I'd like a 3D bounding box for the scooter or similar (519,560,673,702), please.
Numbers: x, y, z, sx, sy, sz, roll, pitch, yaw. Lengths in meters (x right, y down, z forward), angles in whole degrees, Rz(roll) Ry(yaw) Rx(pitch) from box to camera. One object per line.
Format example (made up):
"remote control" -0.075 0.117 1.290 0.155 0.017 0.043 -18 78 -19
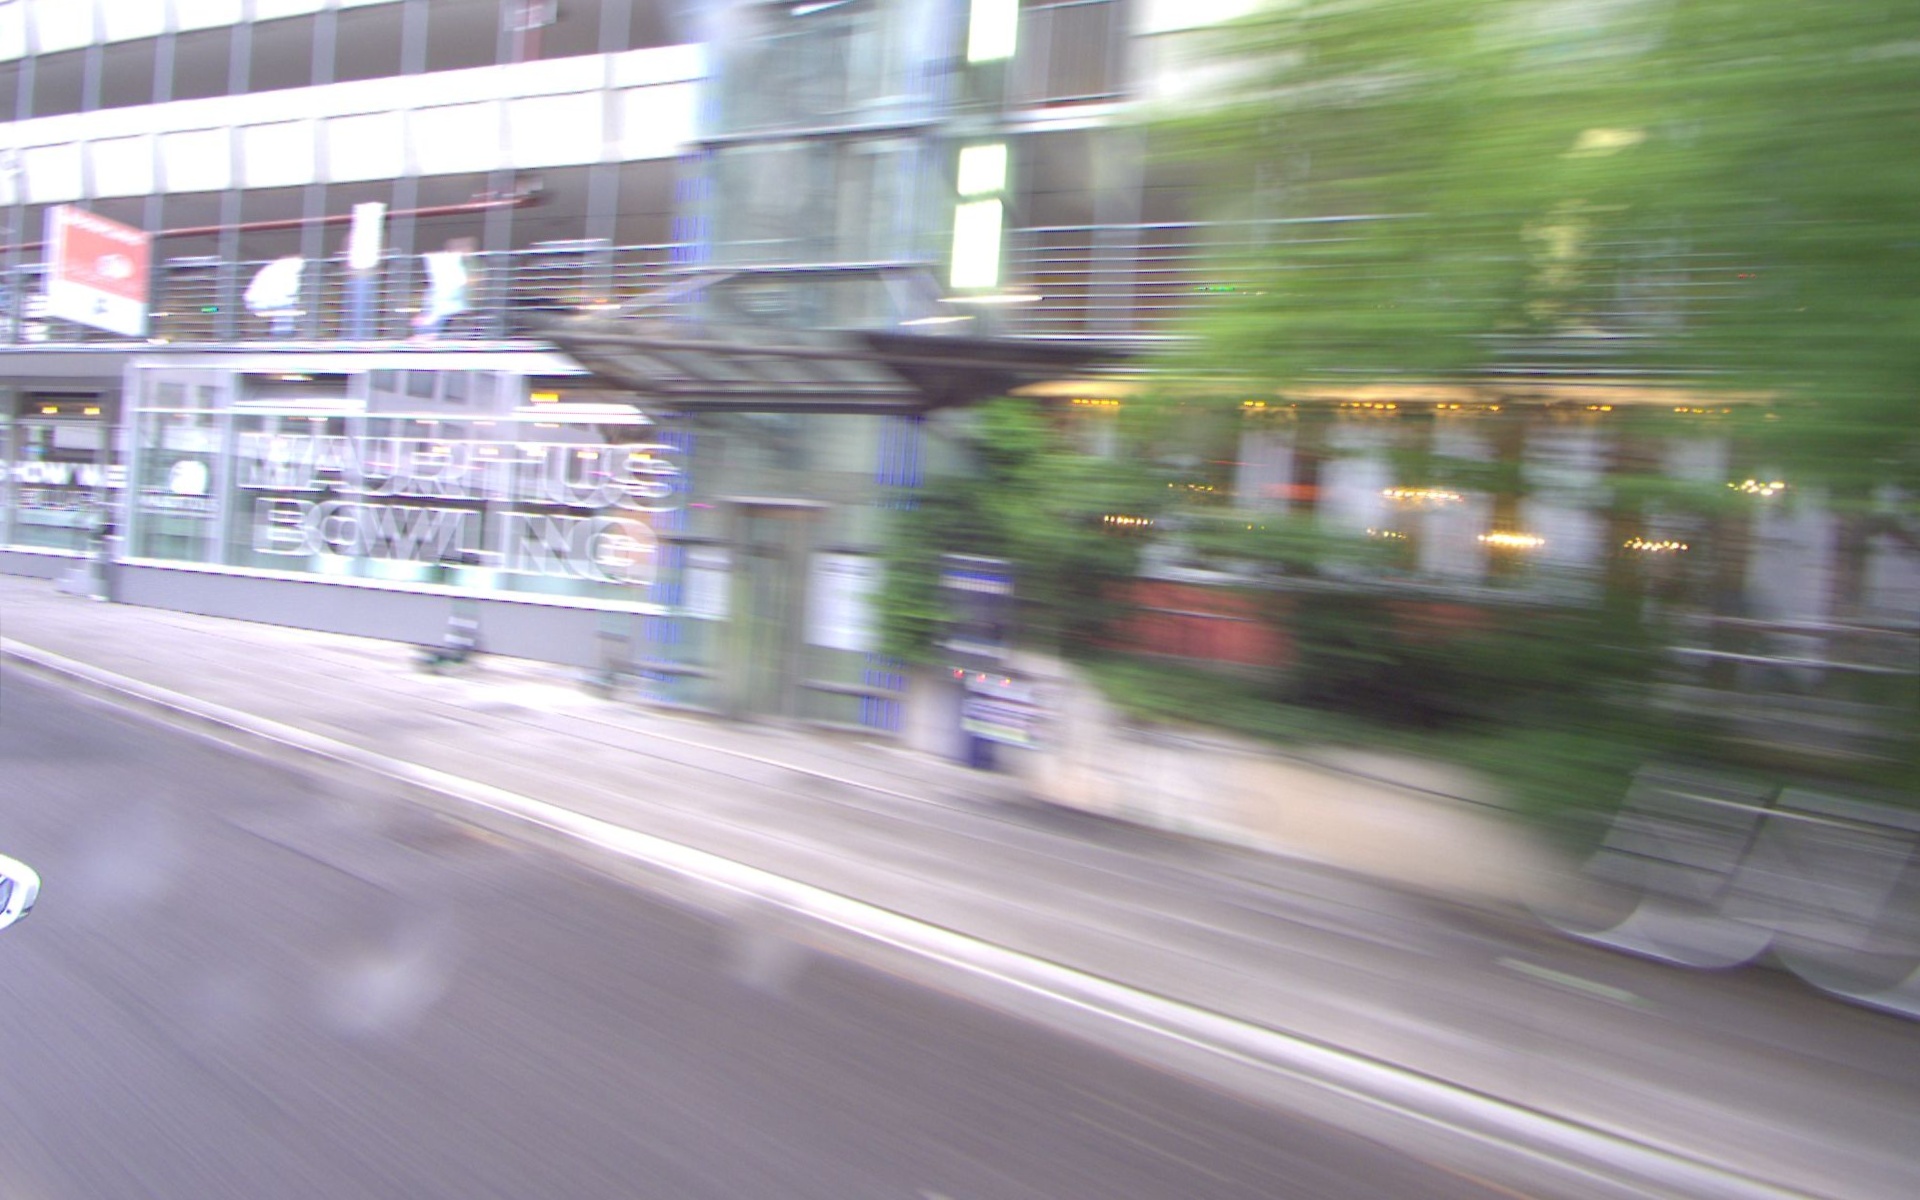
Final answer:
"scooter or similar" -3.725 0.291 10.444 0.729 1.284 1.640 6 2 8

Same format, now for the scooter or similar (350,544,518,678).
"scooter or similar" -5.686 0.105 10.994 0.729 1.284 1.640 6 2 8

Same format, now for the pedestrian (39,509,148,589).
"pedestrian" -14.077 -0.819 16.357 1.223 1.137 0.755 6 0 19

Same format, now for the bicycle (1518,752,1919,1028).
"bicycle" 3.665 1.320 4.792 1.662 0.896 0.470 6 1 33
